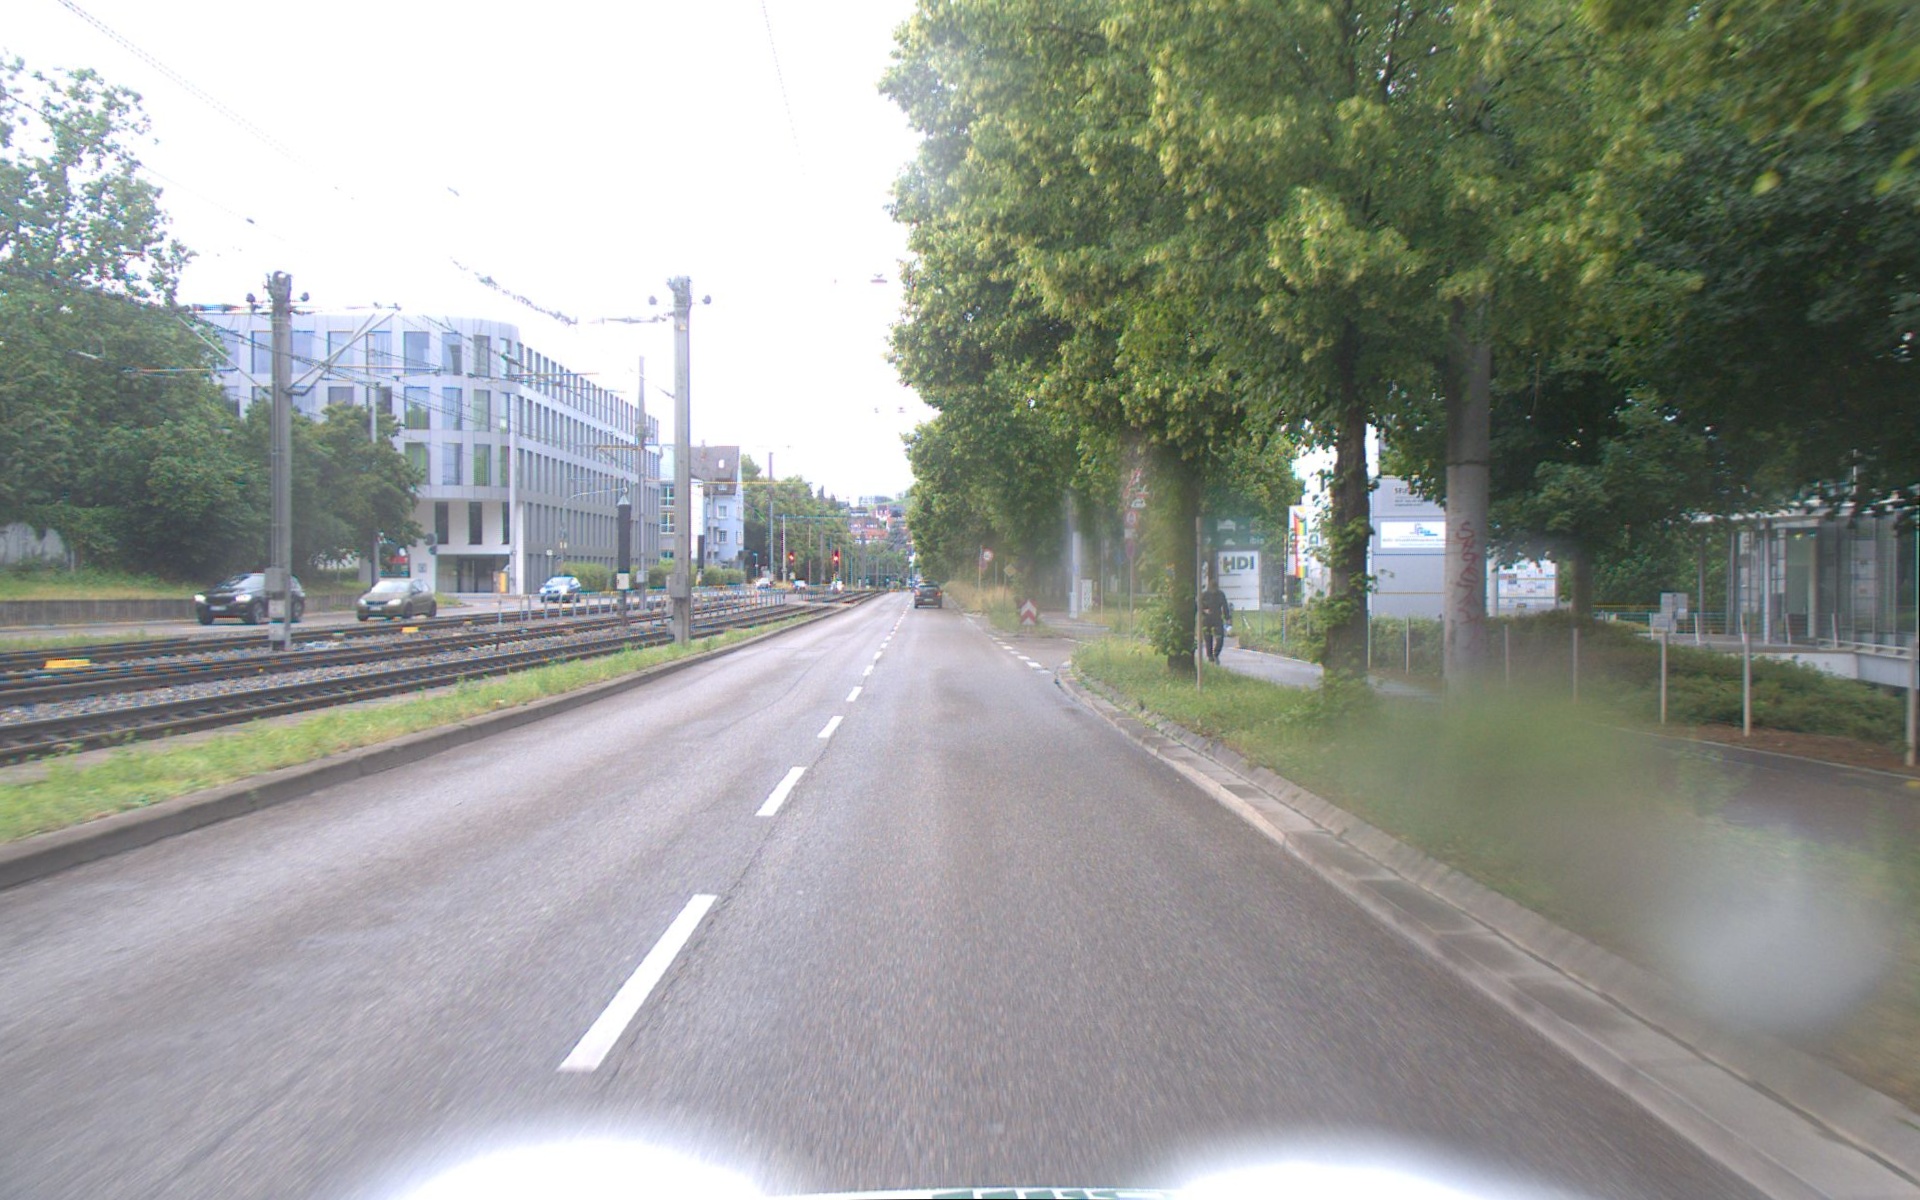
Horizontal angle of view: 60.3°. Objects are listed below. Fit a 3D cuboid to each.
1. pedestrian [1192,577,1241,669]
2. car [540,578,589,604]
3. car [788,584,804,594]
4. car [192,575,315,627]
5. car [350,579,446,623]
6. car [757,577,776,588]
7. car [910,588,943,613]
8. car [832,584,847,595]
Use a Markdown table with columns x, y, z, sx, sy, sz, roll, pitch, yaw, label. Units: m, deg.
| x | y | z | sx | sy | sz | roll | pitch | yaw | label |
| --- | --- | --- | --- | --- | --- | --- | --- | --- | --- |
| 5.202 | 0.453 | 33.572 | 0.809 | 1.828 | 0.867 | 1 | 0 | -1 | pedestrian |
| -22.322 | -0.527 | 93.474 | 1.724 | 1.422 | 3.901 | 0 | 1 | 2 | car |
| -21.813 | -1.470 | 219.786 | 1.761 | 1.370 | 4.258 | 0 | 1 | -1 | car |
| -22.926 | 0.004 | 53.881 | 1.908 | 1.623 | 4.847 | 0 | 1 | 0 | car |
| -19.938 | 0.001 | 58.865 | 1.852 | 1.512 | 4.309 | 0 | 1 | 2 | car |
| -21.694 | -1.962 | 185.145 | 1.720 | 1.265 | 3.987 | 0 | 1 | -1 | car |
| -1.970 | 0.010 | 98.811 | 1.942 | 1.466 | 4.473 | 0 | 1 | -1 | car |
| -17.534 | -1.552 | 240.983 | 1.863 | 1.673 | 4.884 | 0 | 1 | 0 | car |
